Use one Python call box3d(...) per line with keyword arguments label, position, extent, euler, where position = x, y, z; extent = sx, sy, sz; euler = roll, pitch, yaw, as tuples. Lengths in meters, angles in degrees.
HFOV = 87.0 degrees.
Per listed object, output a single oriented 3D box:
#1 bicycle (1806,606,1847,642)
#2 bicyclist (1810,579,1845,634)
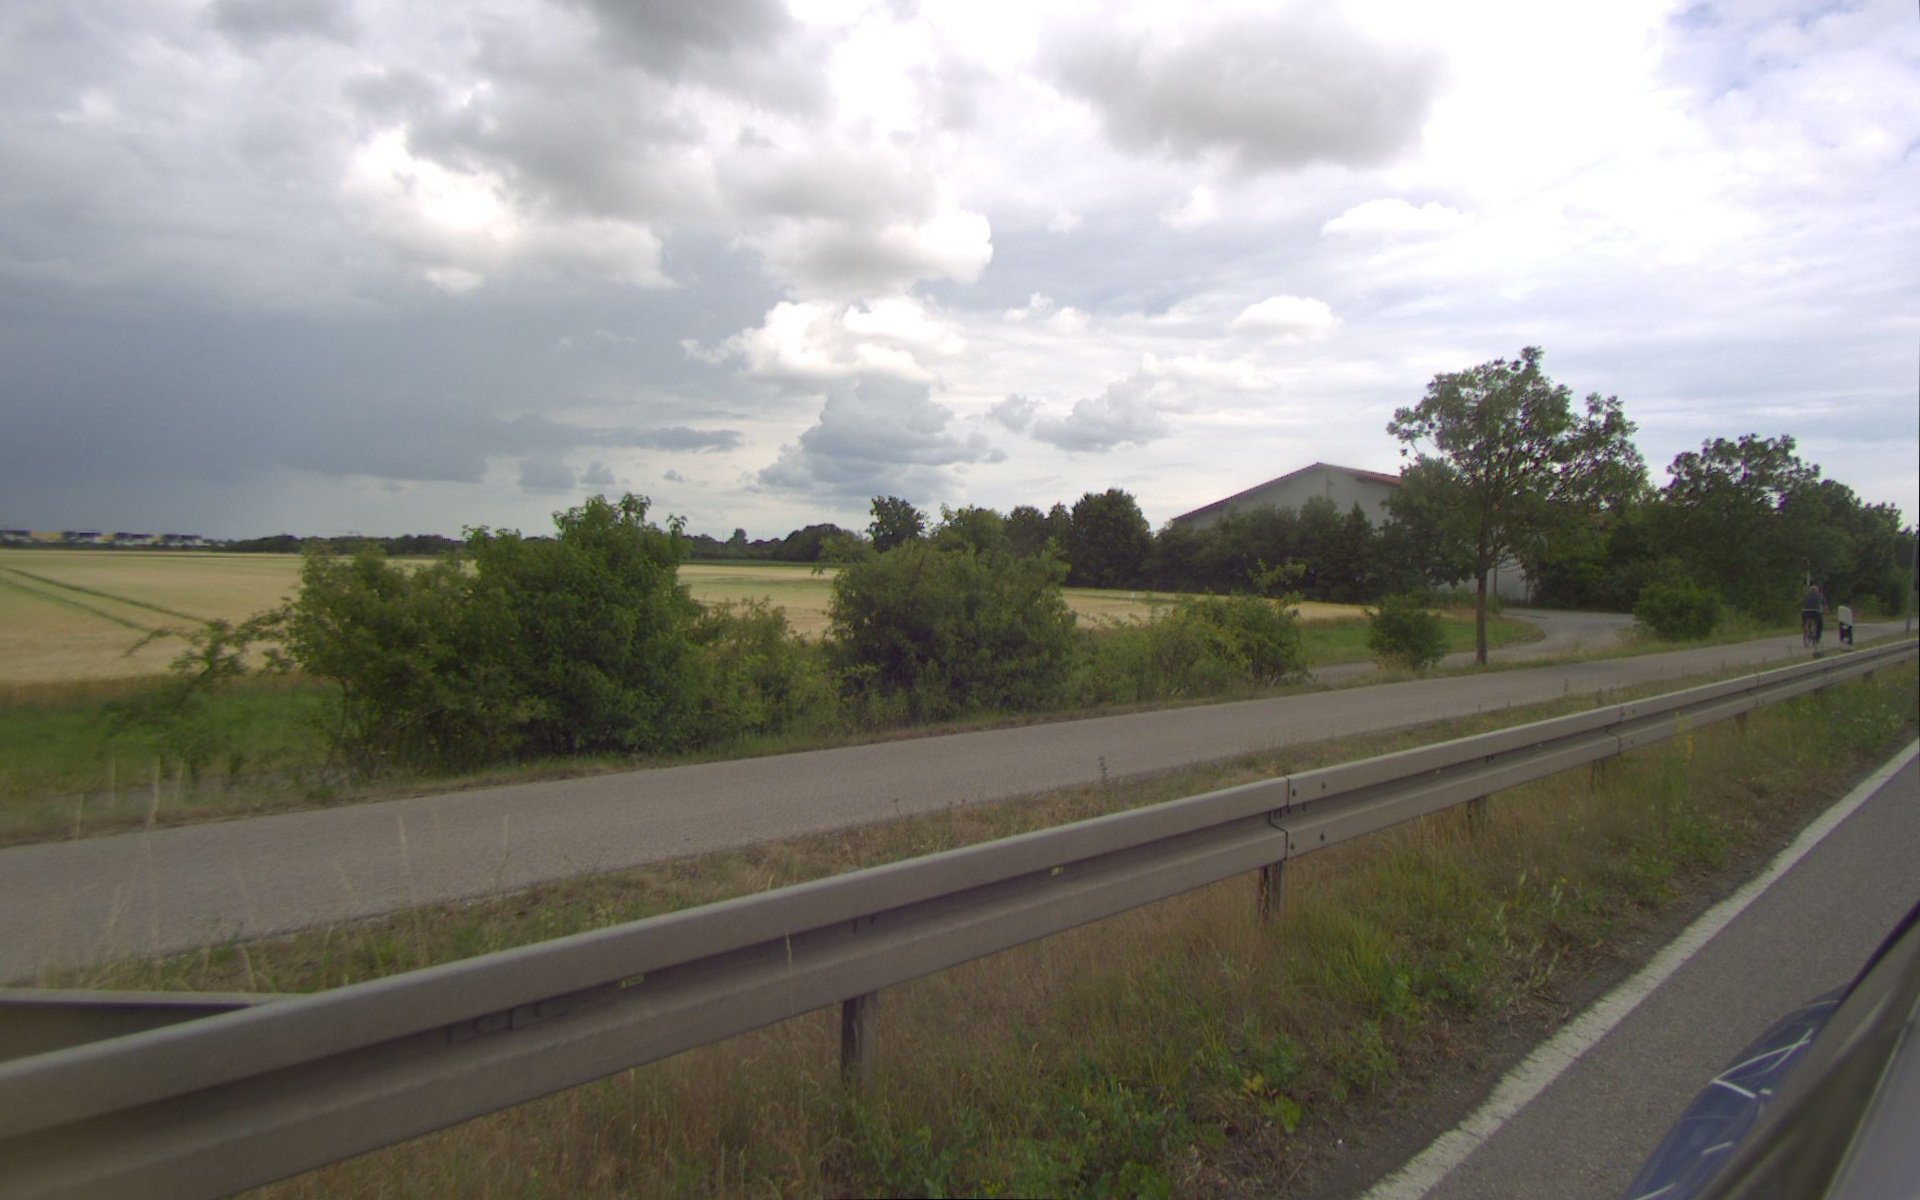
box3d(label="bicycle", position=(26.059, 0.712, 30.426), extent=(2.036, 0.990, 0.640), euler=(-1, 2, -41))
box3d(label="bicyclist", position=(26.054, 0.188, 30.403), extent=(0.952, 1.602, 0.640), euler=(0, 1, -41))
